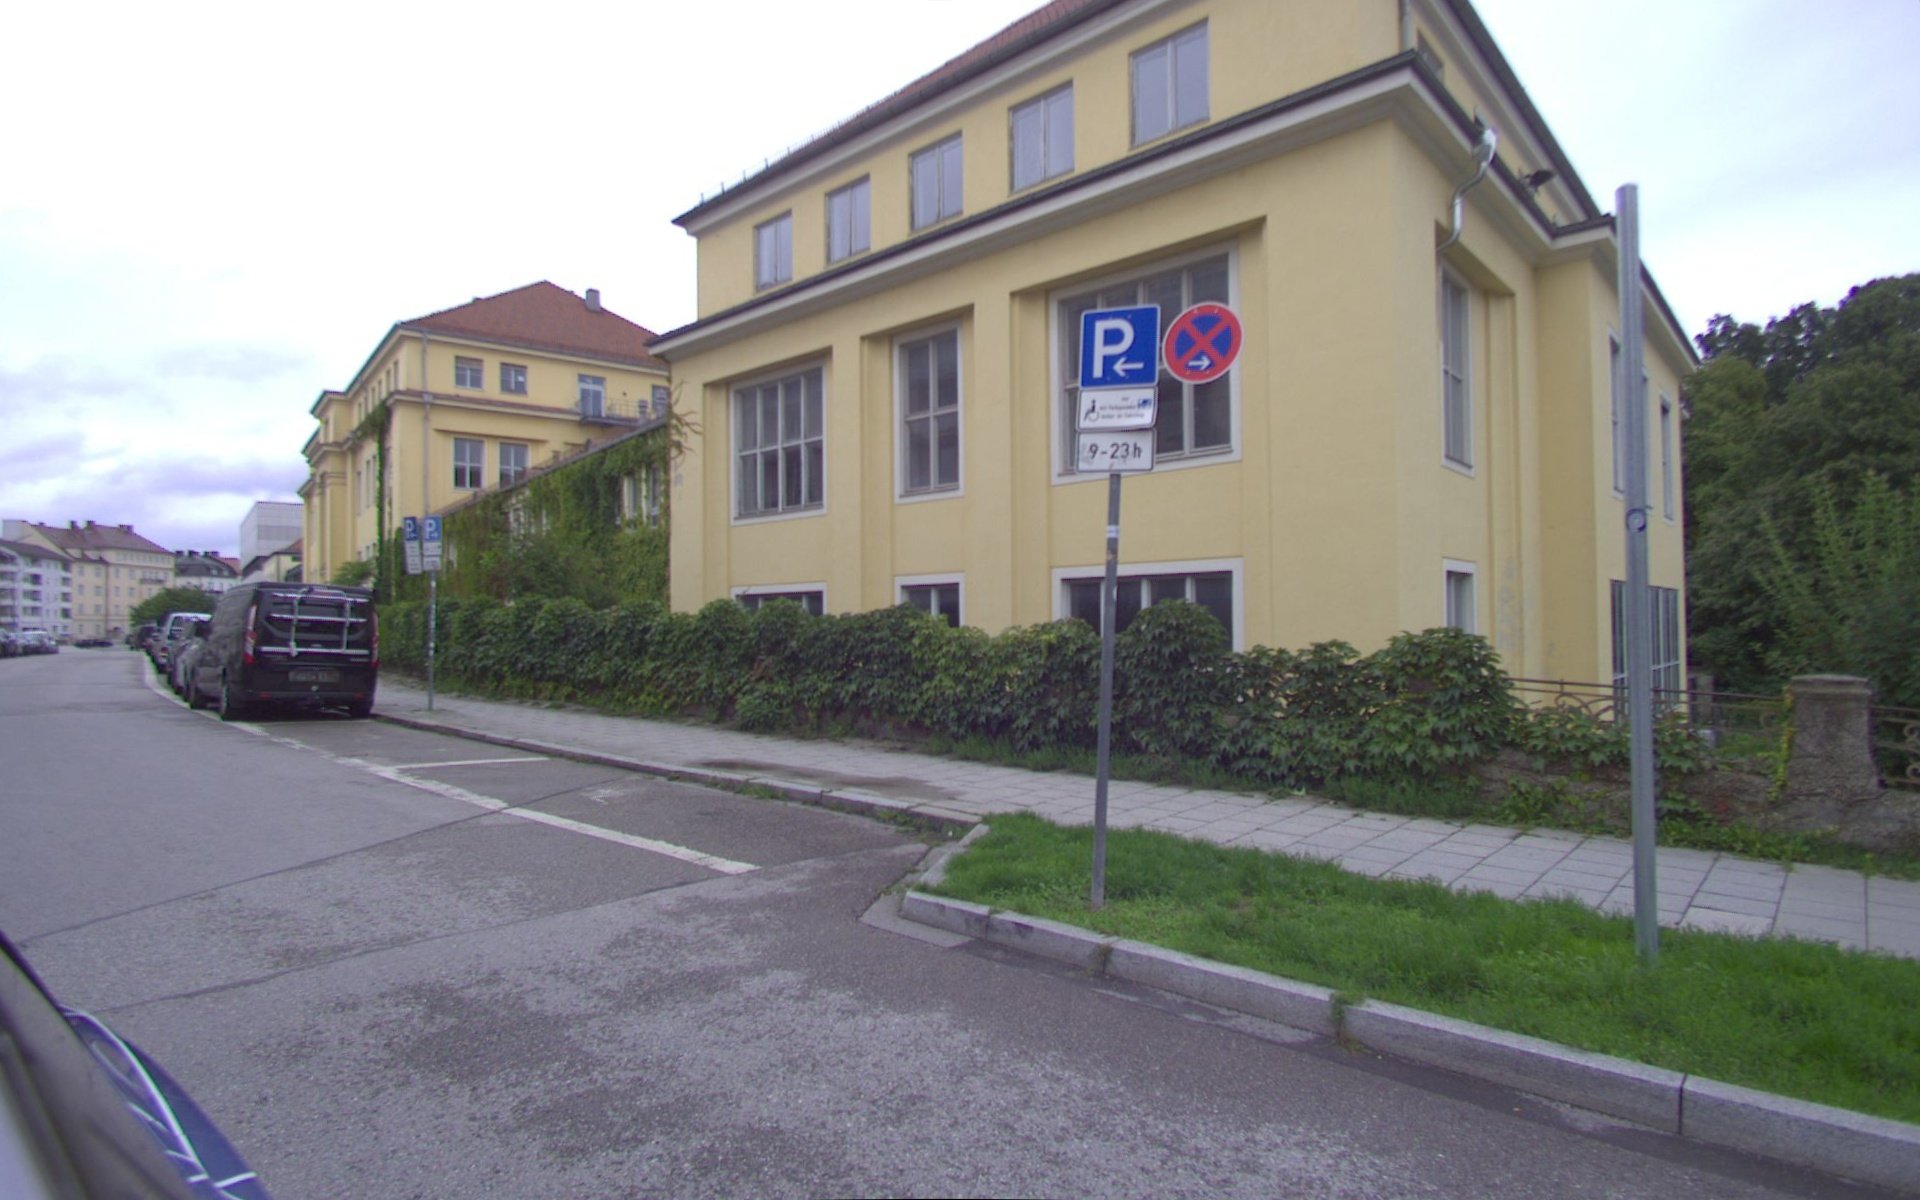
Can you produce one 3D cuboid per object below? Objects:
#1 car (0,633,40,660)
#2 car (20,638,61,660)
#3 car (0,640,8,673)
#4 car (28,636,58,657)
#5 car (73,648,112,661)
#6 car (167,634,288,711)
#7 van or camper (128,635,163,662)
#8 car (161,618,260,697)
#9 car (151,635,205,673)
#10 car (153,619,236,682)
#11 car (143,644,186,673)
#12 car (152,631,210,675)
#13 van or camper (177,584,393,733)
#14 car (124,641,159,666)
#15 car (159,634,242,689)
[{"bbox_3d":[-59.286,2.911,63.856,1.671,1.595,4.089,2,-3,-41],"label":"car"},{"bbox_3d":[-62.850,3.307,69.215,1.670,1.462,4.092,1,-2,-37],"label":"car"},{"bbox_3d":[-47.502,2.705,48.989,1.832,1.556,4.163,1,-3,-40],"label":"car"},{"bbox_3d":[-73.663,3.760,81.339,1.583,1.655,3.637,2,-3,-40],"label":"car"},{"bbox_3d":[-127.164,8.002,148.336,4.186,1.874,2.001,3,-5,-45],"label":"car"},{"bbox_3d":[-14.830,1.396,20.410,1.600,1.388,4.077,2,-3,-41],"label":"car"},{"bbox_3d":[-87.661,5.210,108.895,5.573,2.829,2.111,-3,-5,44],"label":"van or camper"},{"bbox_3d":[-18.158,1.375,24.452,1.599,1.743,4.431,3,-4,-40],"label":"car"},{"bbox_3d":[-31.509,2.144,40.766,1.558,1.467,3.911,1,-3,-40],"label":"car"},{"bbox_3d":[-24.756,1.618,32.699,1.968,1.890,4.767,2,-3,-38],"label":"car"},{"bbox_3d":[-46.741,3.409,59.440,1.659,1.646,4.362,1,-2,-42],"label":"car"},{"bbox_3d":[-28.577,1.892,37.091,1.558,1.504,3.736,0,-2,-40],"label":"car"},{"bbox_3d":[-11.141,0.948,16.555,1.938,2.081,4.756,5,-5,-45],"label":"van or camper"},{"bbox_3d":[-53.542,3.484,66.229,1.658,1.507,3.992,4,-4,-39],"label":"car"},{"bbox_3d":[-21.611,1.701,28.728,1.679,1.433,4.432,2,-3,-39],"label":"car"}]
